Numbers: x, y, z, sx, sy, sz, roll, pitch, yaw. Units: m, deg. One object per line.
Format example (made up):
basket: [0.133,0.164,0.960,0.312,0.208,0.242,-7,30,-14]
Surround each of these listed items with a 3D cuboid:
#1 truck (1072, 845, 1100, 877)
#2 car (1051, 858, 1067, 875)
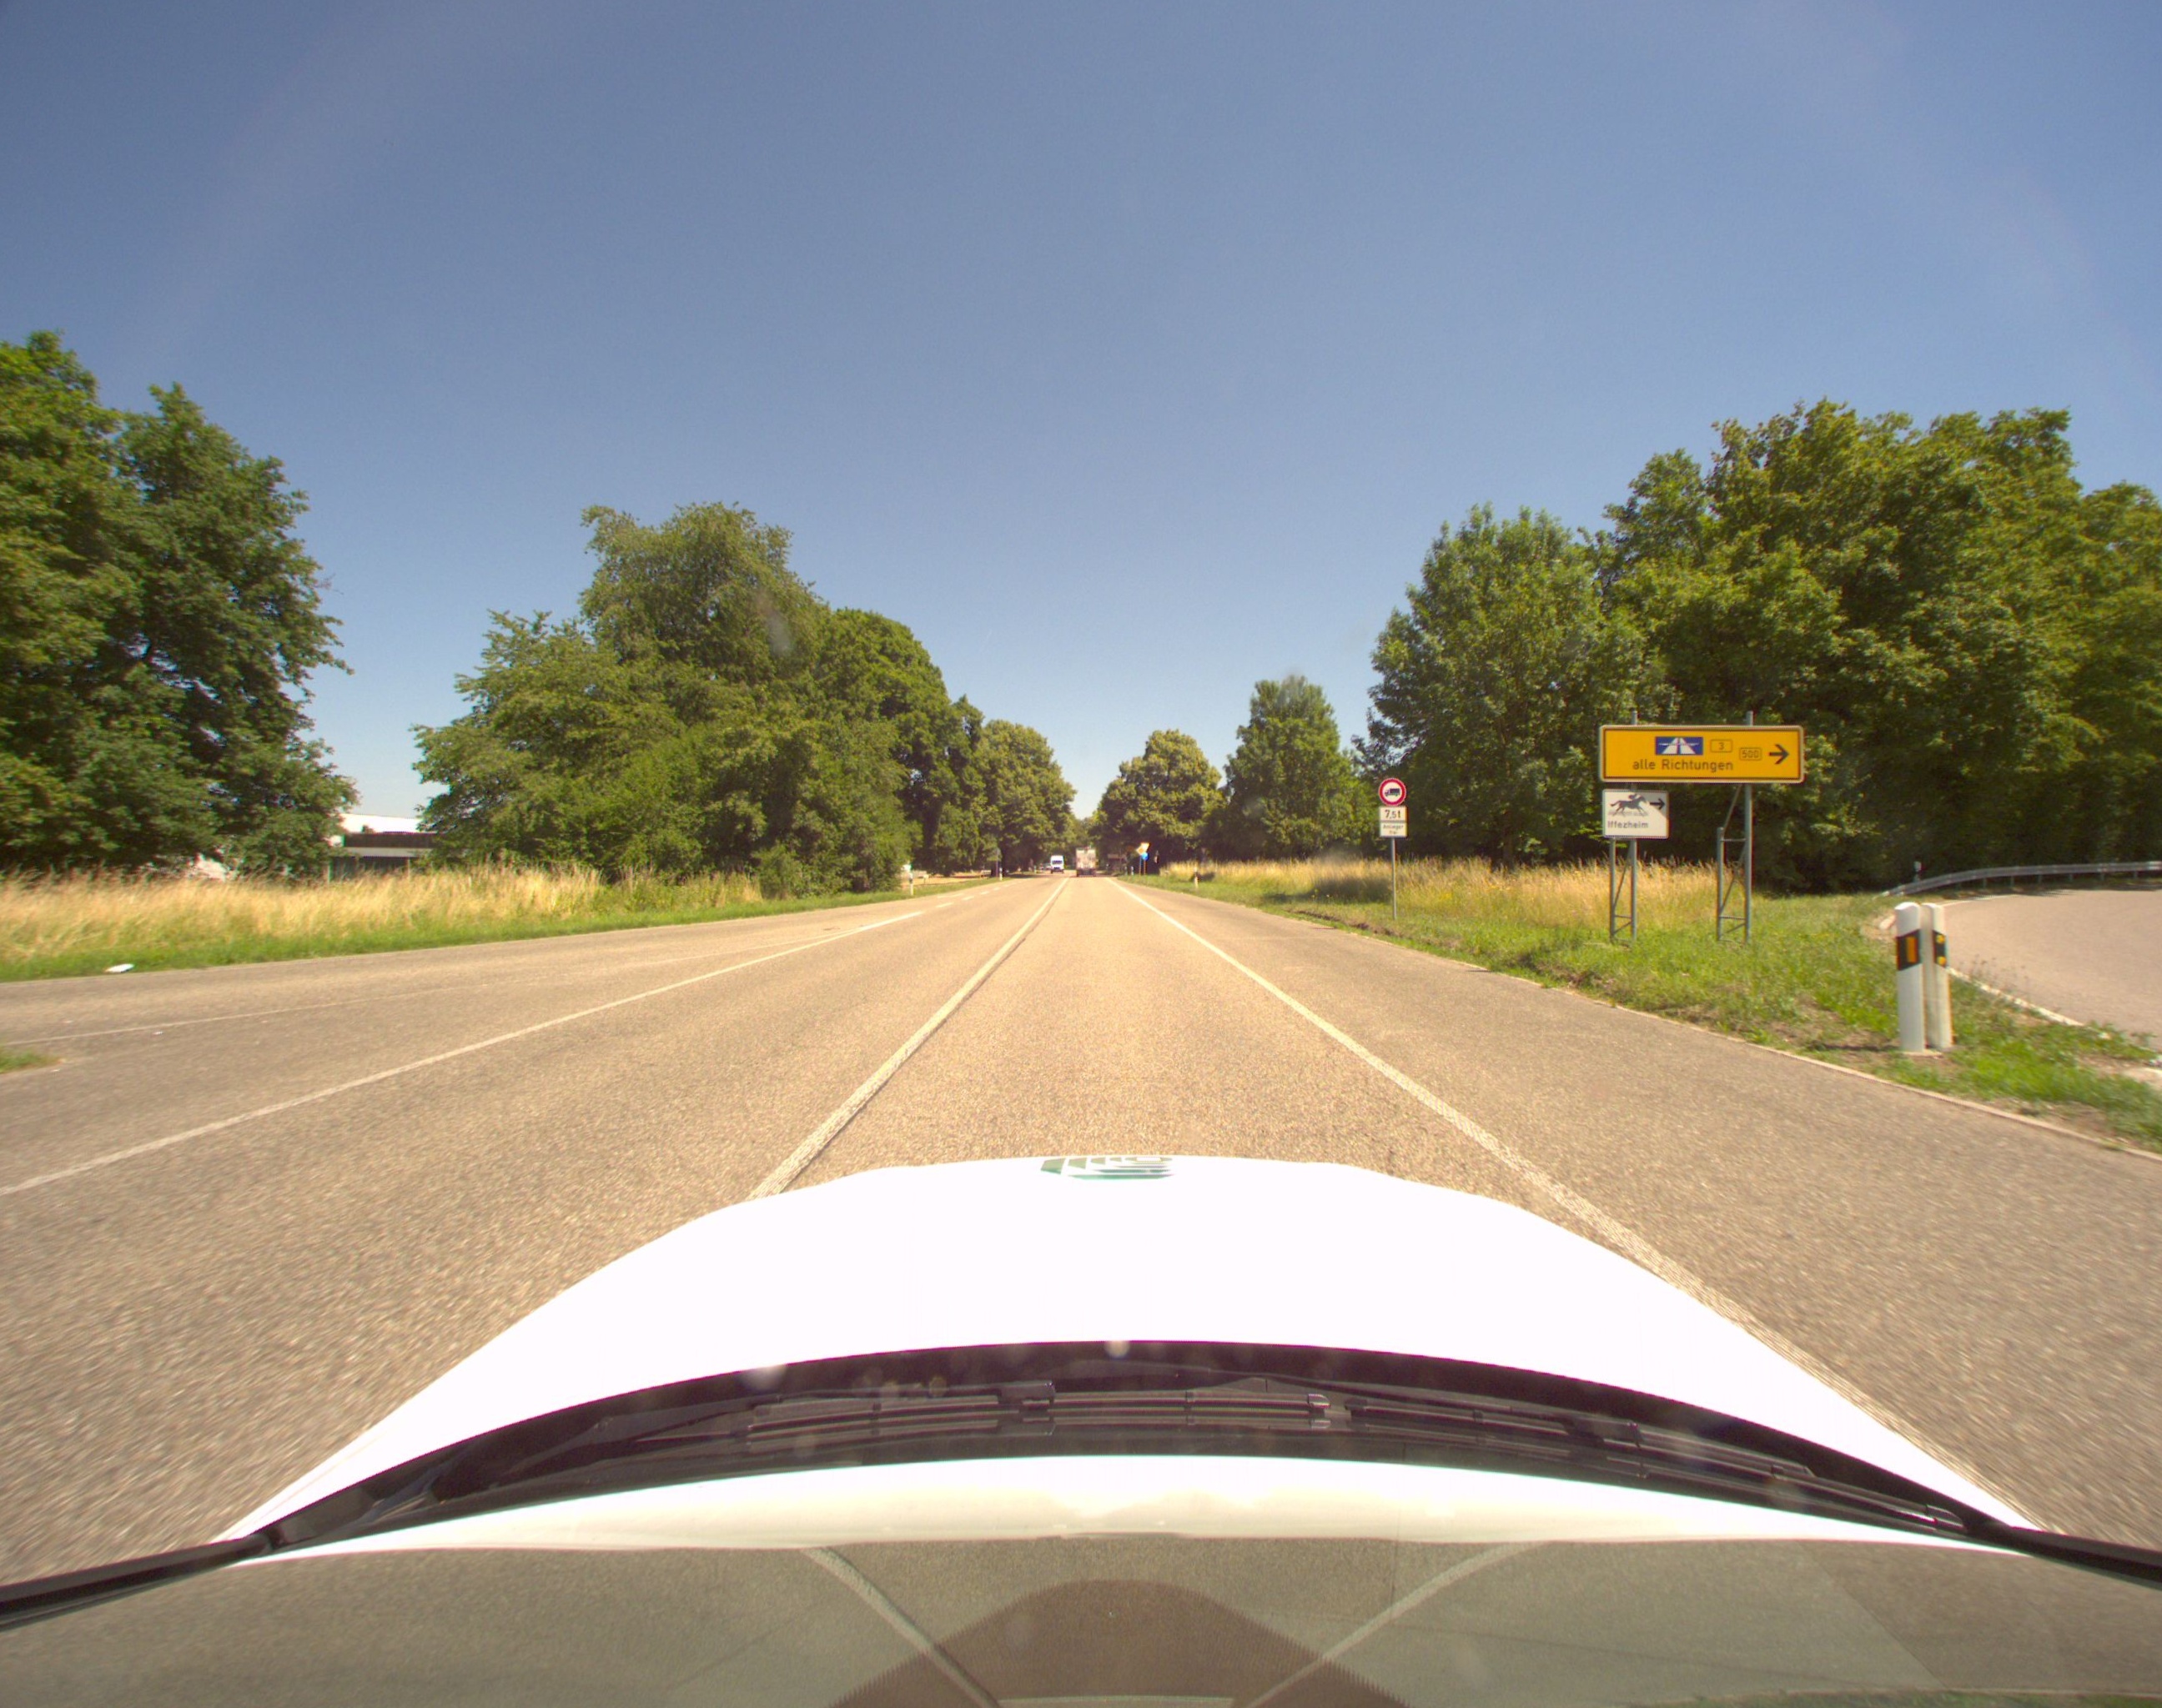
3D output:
truck: [0.606,0.698,85.067,2.522,3.135,5.367,-1,0,4]
car: [-3.315,1.935,125.539,2.065,2.628,6.786,-1,-1,2]
